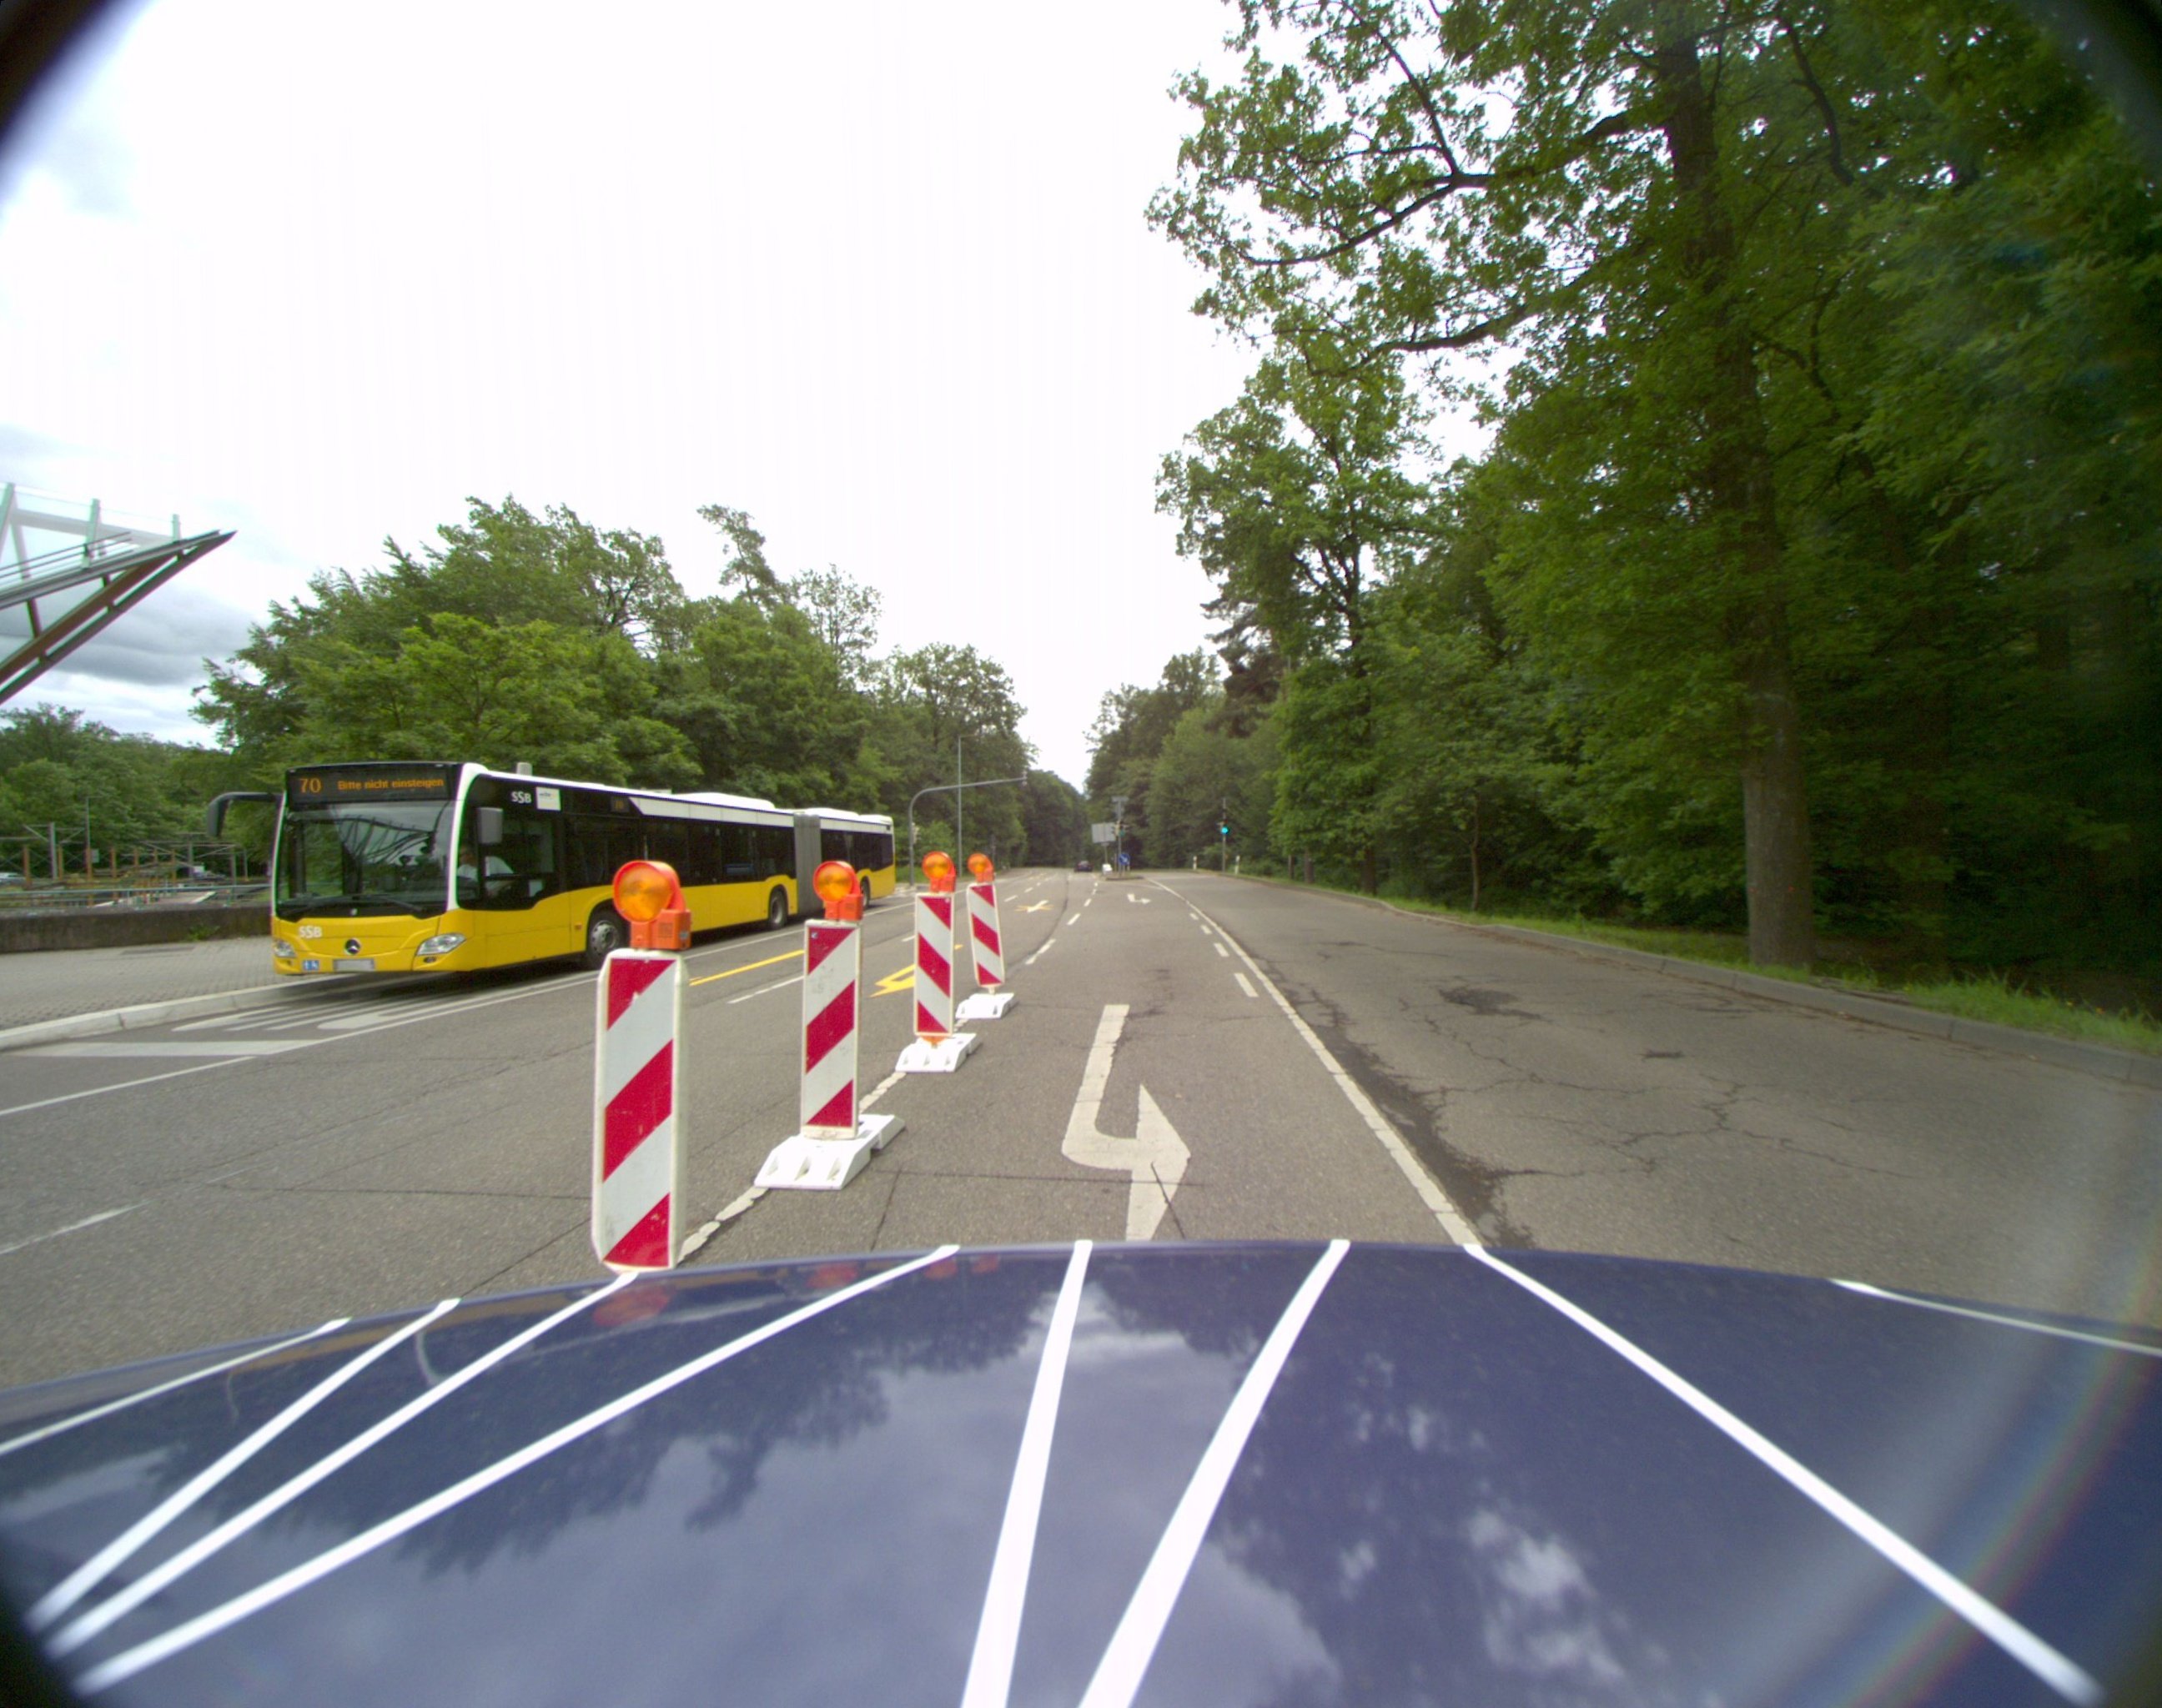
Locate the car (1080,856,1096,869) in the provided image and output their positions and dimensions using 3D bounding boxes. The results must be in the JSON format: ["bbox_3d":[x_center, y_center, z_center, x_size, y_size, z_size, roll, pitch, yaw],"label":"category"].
[{"bbox_3d":[0.797,0.957,88.121,1.751,1.323,3.999,-2,1,-1],"label":"car"}]

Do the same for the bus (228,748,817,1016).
[{"bbox_3d":[-8.524,0.307,14.346,2.809,3.141,10.519,-2,0,3],"label":"bus"}]

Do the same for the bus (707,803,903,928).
[{"bbox_3d":[-8.043,0.271,23.492,2.809,3.141,7.757,-2,1,3],"label":"bus"}]
